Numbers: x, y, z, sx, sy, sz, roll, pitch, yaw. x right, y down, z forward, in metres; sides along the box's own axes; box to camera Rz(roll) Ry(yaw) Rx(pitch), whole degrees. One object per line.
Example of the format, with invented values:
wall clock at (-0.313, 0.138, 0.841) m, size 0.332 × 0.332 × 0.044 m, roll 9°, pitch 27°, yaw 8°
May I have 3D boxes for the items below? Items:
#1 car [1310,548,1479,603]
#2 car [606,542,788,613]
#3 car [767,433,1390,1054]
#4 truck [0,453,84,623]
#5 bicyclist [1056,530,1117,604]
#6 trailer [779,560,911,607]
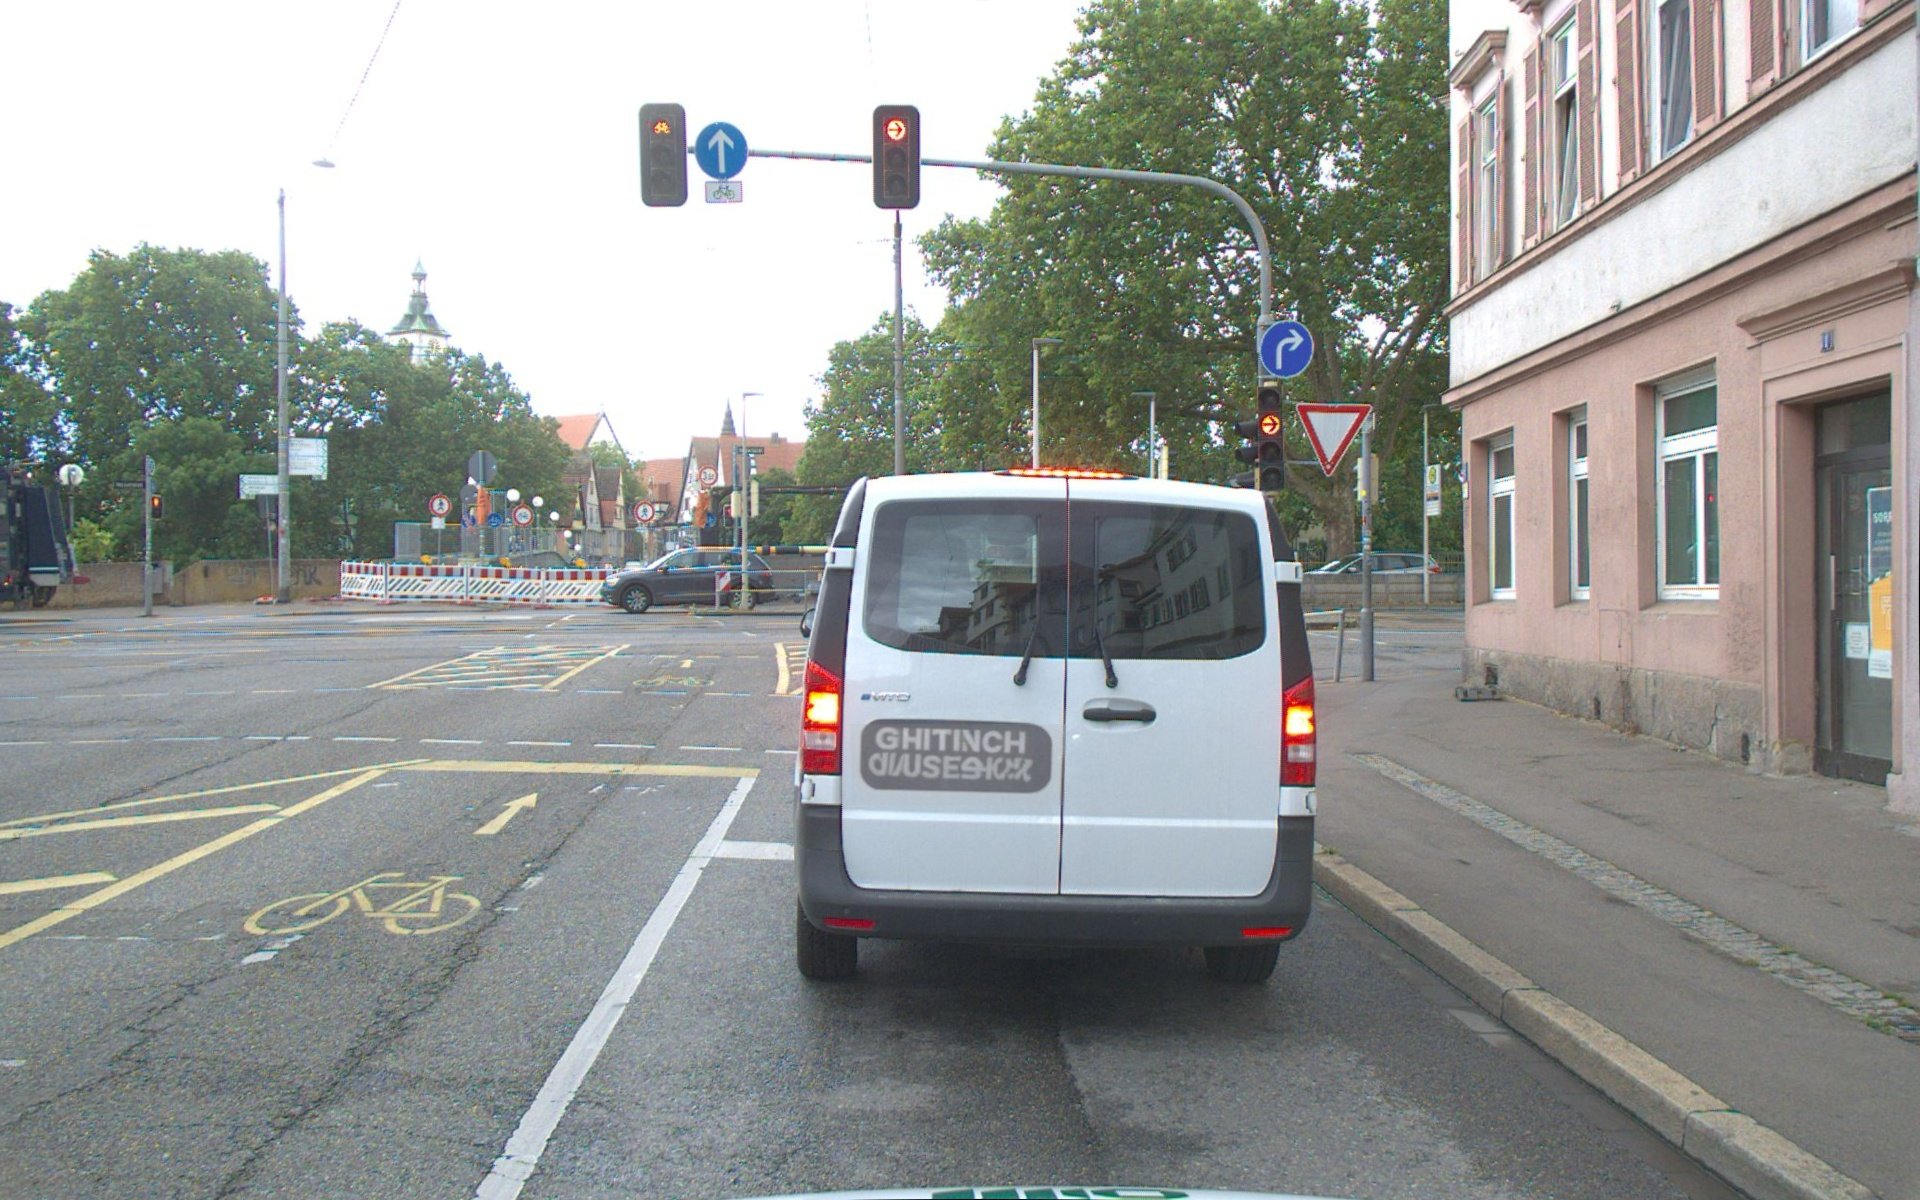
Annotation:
car at (12.110, -0.672, 46.158) m, size 4.200 × 1.478 × 1.894 m, roll 0°, pitch 0°, yaw -12°
car at (-6.726, -0.573, 42.105) m, size 4.441 × 1.662 × 1.993 m, roll -2°, pitch 0°, yaw -13°
car at (0.304, 0.392, 7.360) m, size 1.953 × 1.956 × 4.248 m, roll 1°, pitch 2°, yaw -2°
truck at (-25.129, -1.375, 36.443) m, size 10.032 × 3.760 × 2.258 m, roll 0°, pitch 0°, yaw -20°
bicyclist at (3.841, -0.995, 50.169) m, size 1.538 × 2.193 × 1.243 m, roll 0°, pitch 0°, yaw -15°
trailer at (-3.020, -0.427, 43.044) m, size 3.147 × 1.178 × 1.993 m, roll 0°, pitch 1°, yaw -14°
